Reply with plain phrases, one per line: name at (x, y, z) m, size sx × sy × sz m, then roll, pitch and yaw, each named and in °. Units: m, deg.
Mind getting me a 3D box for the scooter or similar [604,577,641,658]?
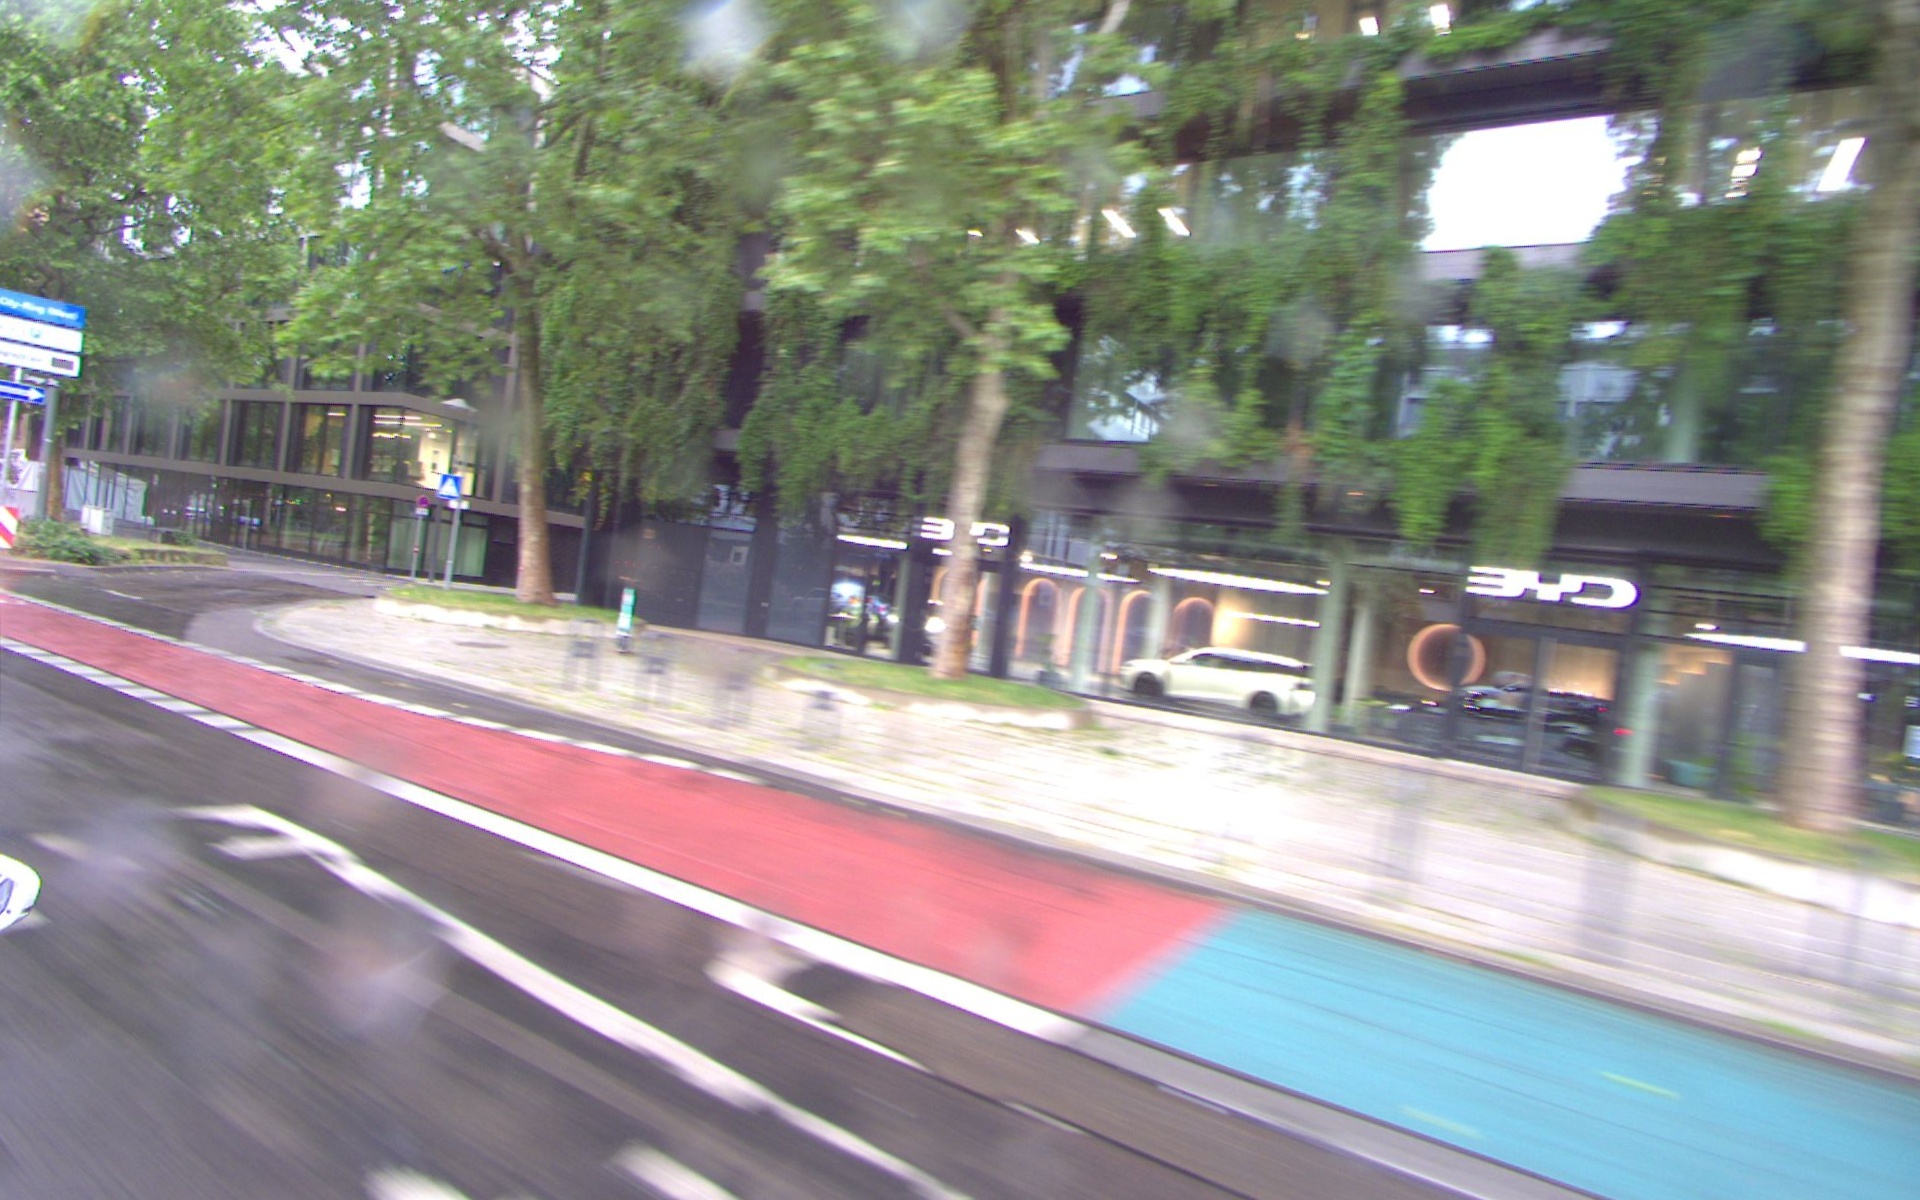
scooter or similar at (-5.598, 0.273, 16.675) m, size 0.377 × 1.243 × 1.073 m, roll 7°, pitch 0°, yaw -22°
